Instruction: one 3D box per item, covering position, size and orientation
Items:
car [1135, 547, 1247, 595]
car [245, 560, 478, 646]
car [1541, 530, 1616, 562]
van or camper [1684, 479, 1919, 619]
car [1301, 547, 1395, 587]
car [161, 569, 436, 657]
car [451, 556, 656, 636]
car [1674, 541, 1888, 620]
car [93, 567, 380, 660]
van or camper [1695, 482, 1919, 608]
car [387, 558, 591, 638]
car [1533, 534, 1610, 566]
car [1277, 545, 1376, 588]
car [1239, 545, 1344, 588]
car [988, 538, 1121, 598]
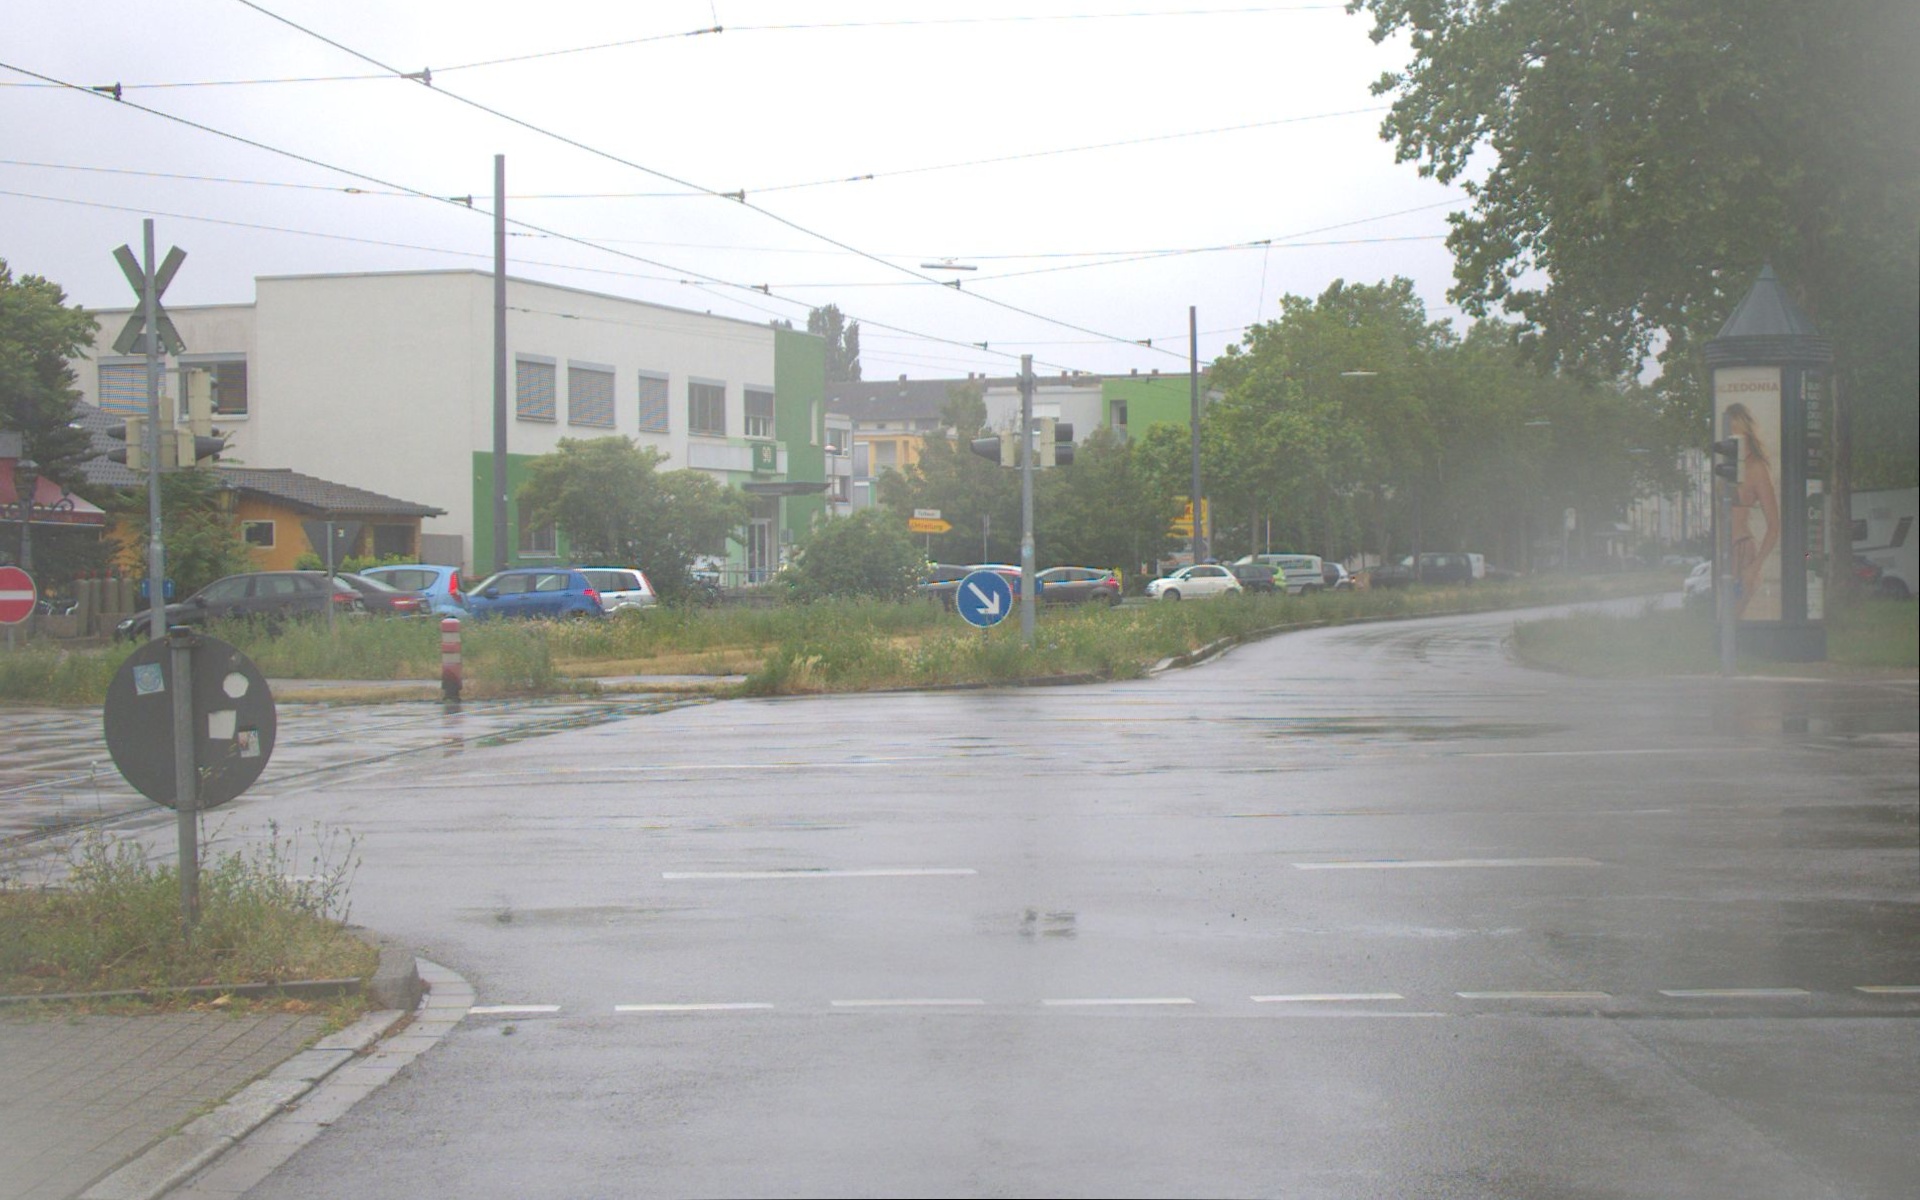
[{"bbox_3d":[8.517,-1.081,126.778,3.773,1.697,1.837,1,0,-10],"label":"car"},{"bbox_3d":[-11.247,0.049,64.797,3.987,1.576,1.858,0,0,4],"label":"car"},{"bbox_3d":[36.577,-3.186,203.424,3.986,1.826,2.000,1,0,-5],"label":"car"},{"bbox_3d":[20.858,-1.188,80.490,7.328,3.167,3.259,1,1,18],"label":"van or camper"},{"bbox_3d":[17.905,-1.526,158.926,3.986,1.826,2.000,1,0,-5],"label":"car"},{"bbox_3d":[-11.780,0.220,61.408,4.497,1.413,1.858,-2,0,1],"label":"car"},{"bbox_3d":[-8.641,-0.100,72.924,4.107,1.635,1.930,-1,0,-14],"label":"car"},{"bbox_3d":[18.533,-0.452,77.582,4.449,1.711,1.998,1,1,21],"label":"car"},{"bbox_3d":[-12.383,0.223,59.001,4.477,1.413,1.858,-2,0,1],"label":"car"},{"bbox_3d":[23.225,-1.430,89.726,7.434,3.167,3.259,1,1,22],"label":"van or camper"},{"bbox_3d":[-9.569,-0.052,69.749,3.986,1.576,1.930,0,0,-11],"label":"car"},{"bbox_3d":[35.328,-2.890,198.693,3.986,1.826,2.000,1,0,-5],"label":"car"},{"bbox_3d":[16.384,-1.496,153.856,3.986,1.826,2.001,1,0,-11],"label":"car"},{"bbox_3d":[13.952,-1.402,144.864,3.986,1.752,2.011,1,0,-11],"label":"car"},{"bbox_3d":[3.016,-1.026,110.149,3.986,1.881,2.000,1,0,-7],"label":"car"}]
